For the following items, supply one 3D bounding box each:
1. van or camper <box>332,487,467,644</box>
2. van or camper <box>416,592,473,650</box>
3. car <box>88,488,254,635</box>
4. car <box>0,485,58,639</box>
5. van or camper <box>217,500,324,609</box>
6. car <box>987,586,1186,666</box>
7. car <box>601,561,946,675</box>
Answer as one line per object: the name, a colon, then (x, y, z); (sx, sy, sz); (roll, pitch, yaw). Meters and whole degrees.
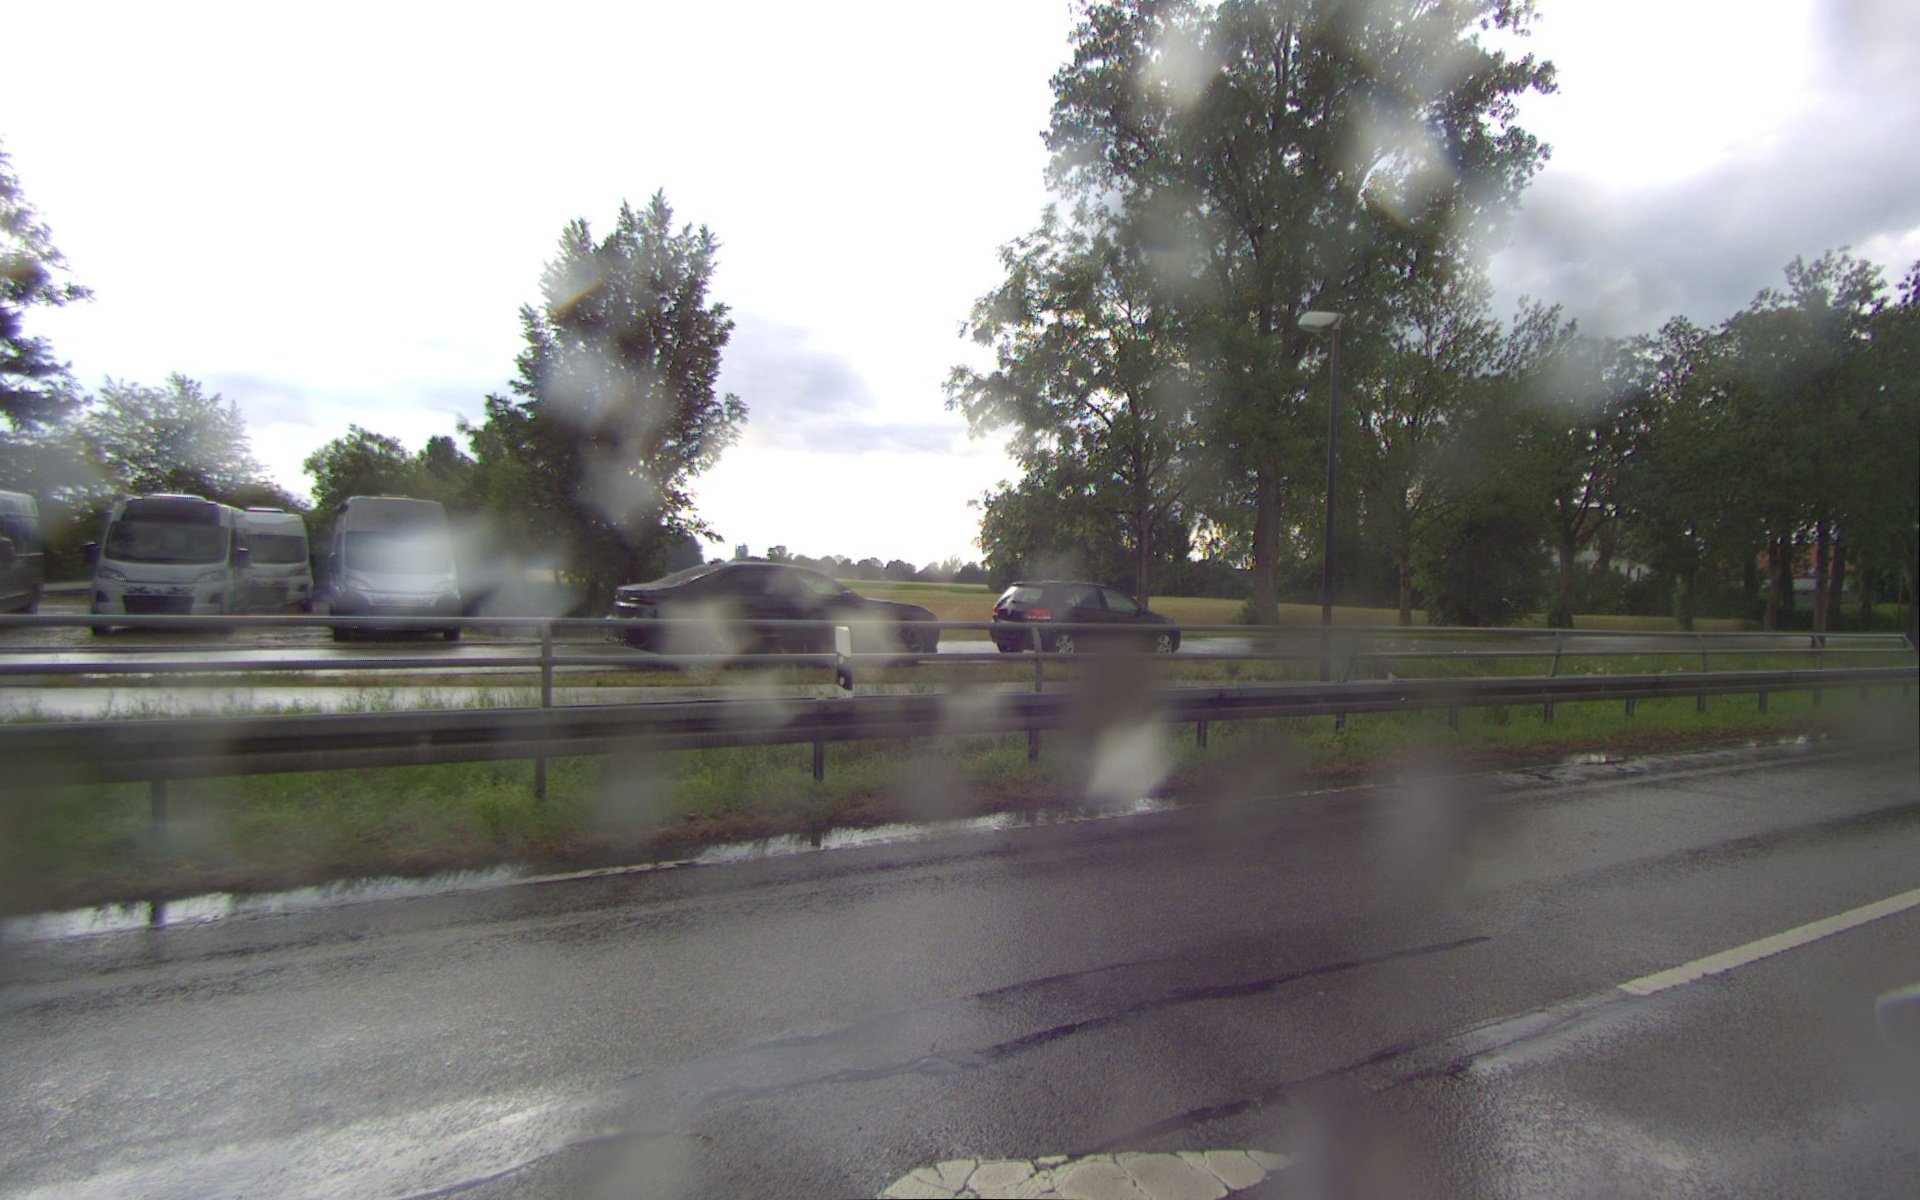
van or camper: (-11.402, -0.689, 20.338); (2.057, 2.713, 5.844); (1, 2, -31)
van or camper: (-27.222, 1.053, 52.962); (2.296, 2.713, 5.844); (1, 2, -31)
car: (-15.294, -0.743, 19.744); (1.978, 2.492, 5.063); (1, 2, -32)
car: (-17.429, -0.698, 17.251); (1.978, 2.535, 5.153); (1, 2, -32)
van or camper: (-18.608, -1.215, 27.333); (1.977, 2.625, 5.774); (1, 2, -31)
car: (2.471, 0.471, 19.164); (3.858, 1.349, 1.274); (1, 3, -35)
car: (-2.745, 0.261, 15.542); (5.070, 1.511, 1.505); (1, 2, -35)
